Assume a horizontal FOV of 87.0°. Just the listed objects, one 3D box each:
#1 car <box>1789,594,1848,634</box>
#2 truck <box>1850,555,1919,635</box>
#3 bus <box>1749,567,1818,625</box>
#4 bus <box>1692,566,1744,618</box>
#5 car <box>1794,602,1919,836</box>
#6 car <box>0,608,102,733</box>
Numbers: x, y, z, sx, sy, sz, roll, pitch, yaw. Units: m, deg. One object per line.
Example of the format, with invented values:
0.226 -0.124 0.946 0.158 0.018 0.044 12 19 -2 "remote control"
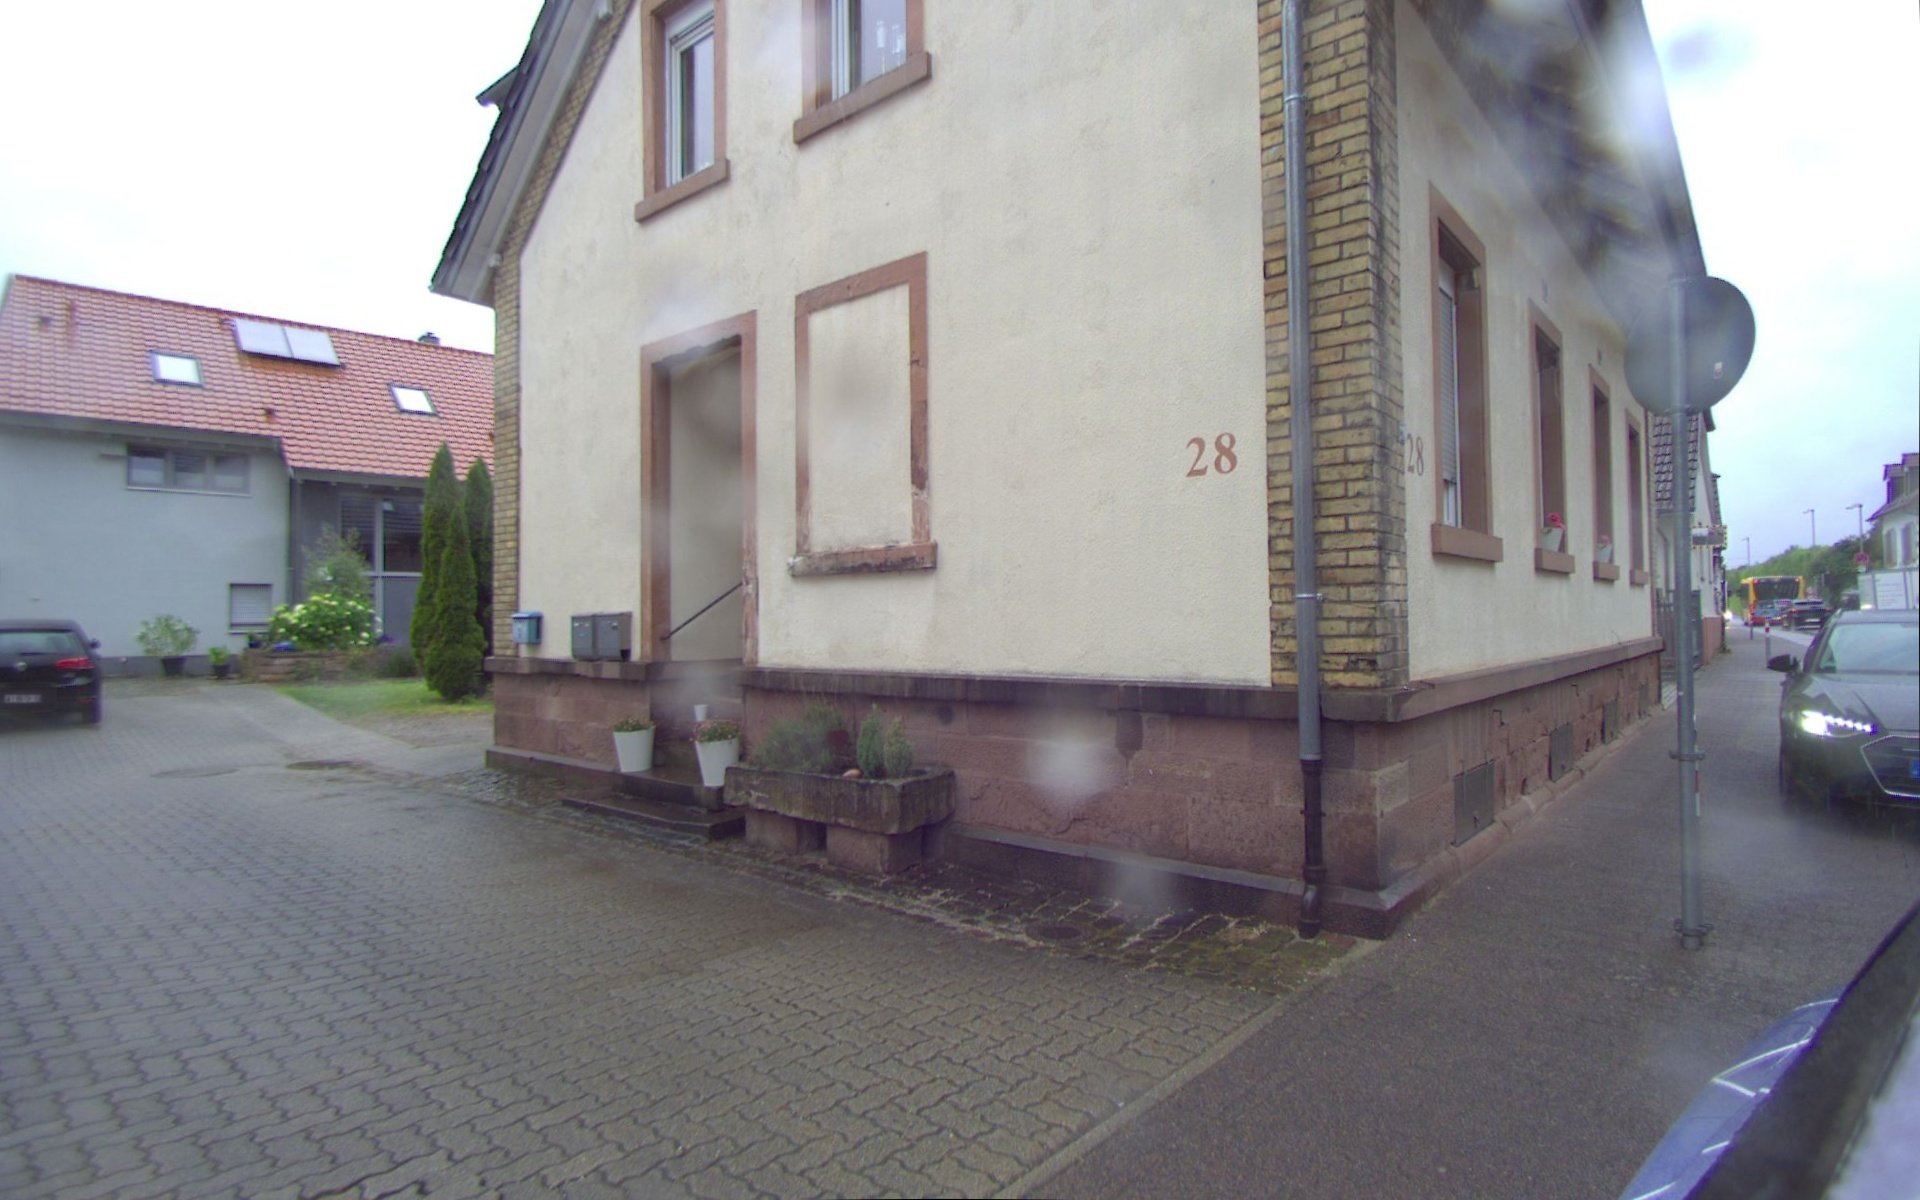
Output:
41.379 0.638 48.840 1.792 1.839 3.950 0 0 35 "car"
31.691 -0.186 33.983 1.986 2.536 5.581 0 0 34 "truck"
50.961 -0.314 62.842 2.654 3.273 12.033 0 0 36 "bus"
52.692 -0.582 70.497 2.654 3.273 12.033 0 0 36 "bus"
7.360 0.730 7.543 1.732 1.388 4.044 0 0 39 "car"
-13.935 0.954 15.088 1.656 1.491 3.993 0 2 -42 "car"
